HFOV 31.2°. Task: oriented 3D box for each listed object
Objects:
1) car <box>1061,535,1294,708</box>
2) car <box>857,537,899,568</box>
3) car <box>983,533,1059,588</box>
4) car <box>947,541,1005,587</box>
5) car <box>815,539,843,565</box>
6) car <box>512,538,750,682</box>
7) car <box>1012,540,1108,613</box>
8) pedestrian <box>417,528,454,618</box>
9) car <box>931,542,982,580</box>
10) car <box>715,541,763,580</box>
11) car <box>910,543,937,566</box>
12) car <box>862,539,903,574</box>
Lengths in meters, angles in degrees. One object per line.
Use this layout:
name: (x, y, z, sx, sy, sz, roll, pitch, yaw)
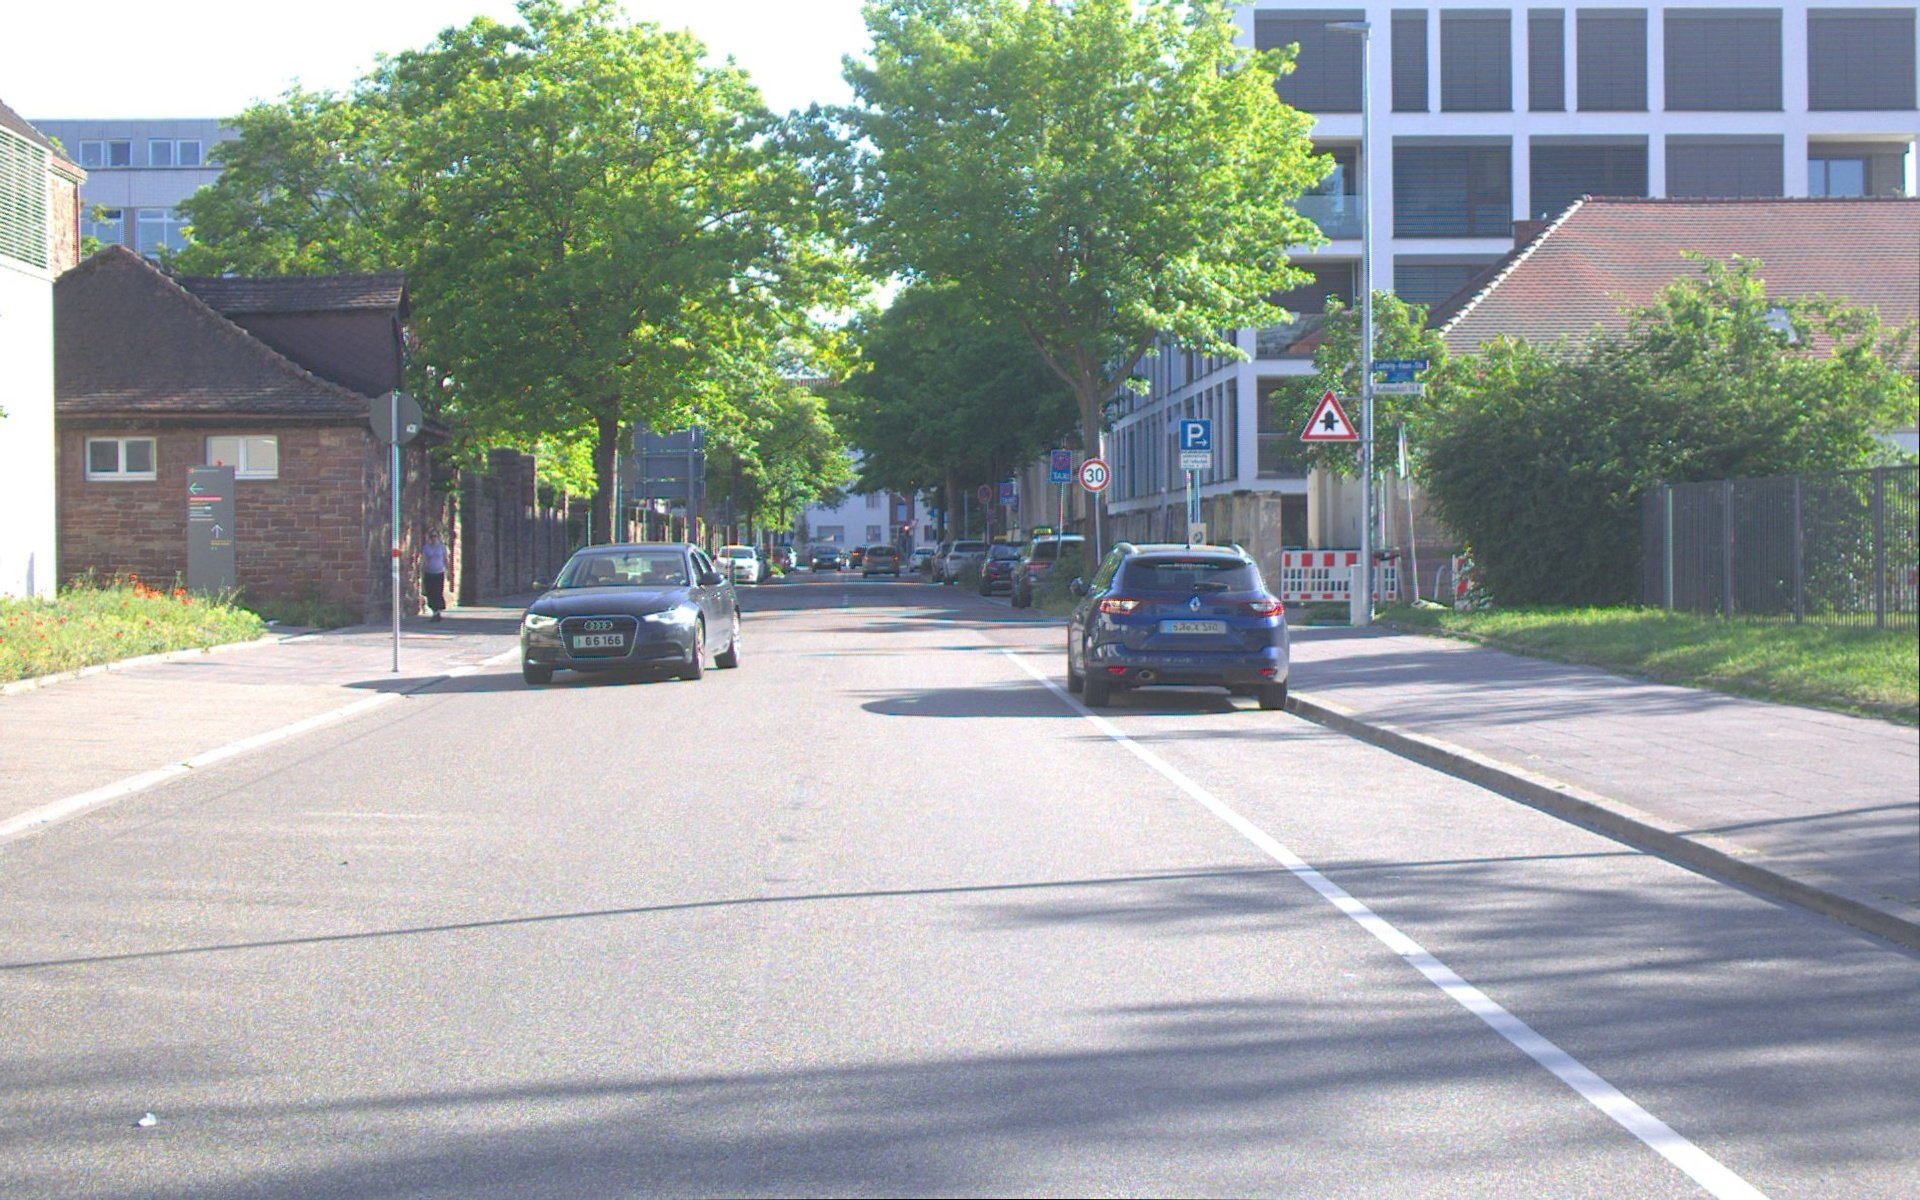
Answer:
car: (1.933, 0.144, 31.646, 1.817, 1.448, 4.214, -1, 1, -1)
car: (-3.741, -2.195, 157.460, 1.889, 1.395, 3.837, 0, 1, -1)
car: (1.623, -1.063, 92.744, 1.767, 1.435, 4.001, -1, 1, -3)
car: (0.547, -1.281, 121.487, 1.950, 1.573, 3.837, 0, 1, -1)
car: (-8.043, -2.953, 211.401, 1.653, 1.525, 4.000, 0, 1, -2)
car: (-3.491, 0.059, 37.315, 1.762, 1.437, 4.537, -1, 1, 5)
car: (2.042, -0.513, 71.396, 1.703, 1.463, 4.789, 0, 1, -2)
pedestrian: (-9.208, -0.479, 60.409, 0.521, 1.557, 1.096, 0, 1, -2)
car: (-0.143, -1.568, 137.404, 1.993, 1.460, 3.837, 0, 1, -1)
car: (-8.494, -1.521, 132.143, 1.767, 1.482, 4.001, -1, 1, -3)
car: (-2.146, -2.687, 202.574, 1.585, 1.395, 3.837, 0, 1, -1)
car: (-3.568, -1.993, 157.392, 1.767, 1.543, 4.066, -1, 1, -3)
